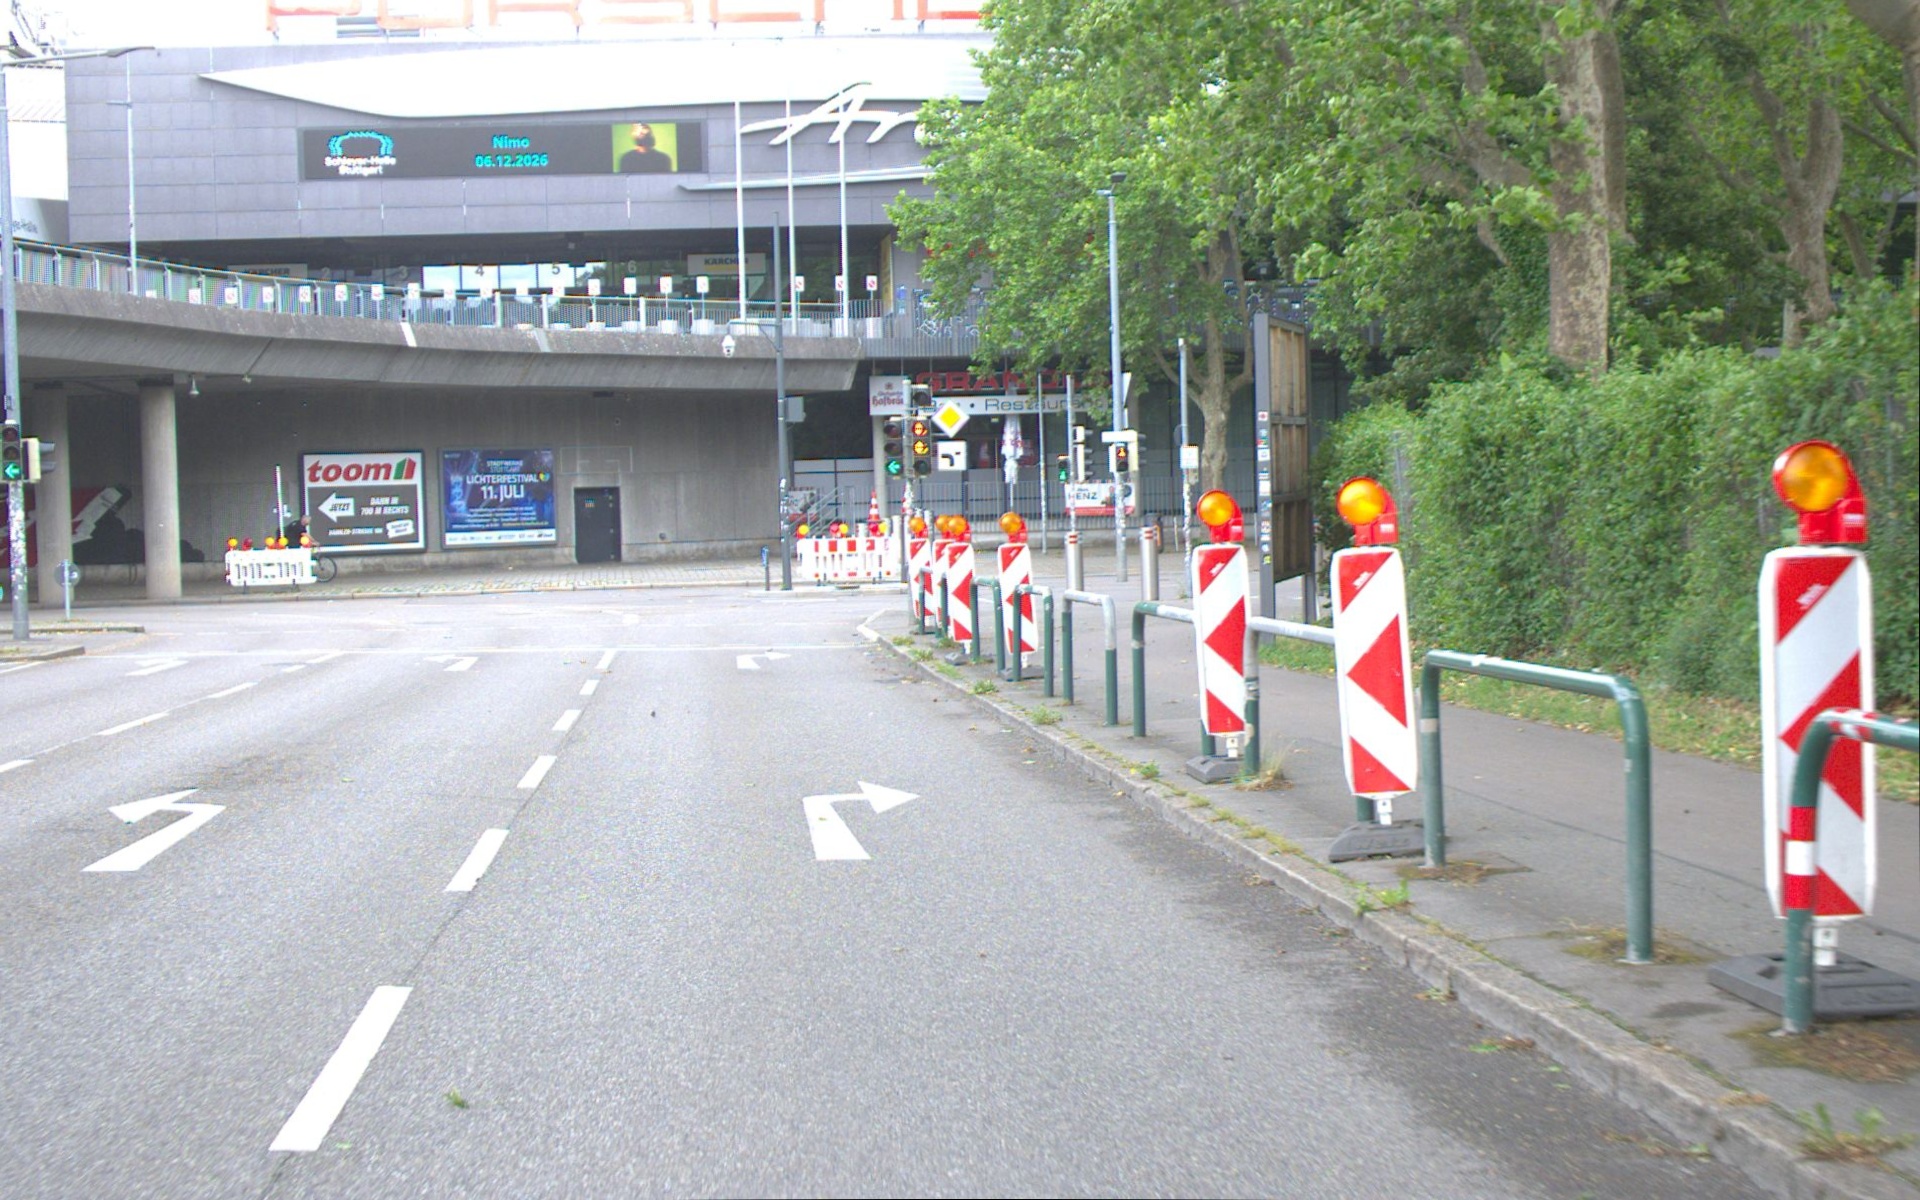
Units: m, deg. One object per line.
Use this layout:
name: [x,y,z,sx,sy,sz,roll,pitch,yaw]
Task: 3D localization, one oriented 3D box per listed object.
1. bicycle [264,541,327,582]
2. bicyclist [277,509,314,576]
bicycle: [-16.779,-0.974,86.850,1.532,1.009,0.517,0,0,-8]
bicyclist: [-16.786,-1.453,86.851,0.851,1.692,0.767,0,0,-8]
